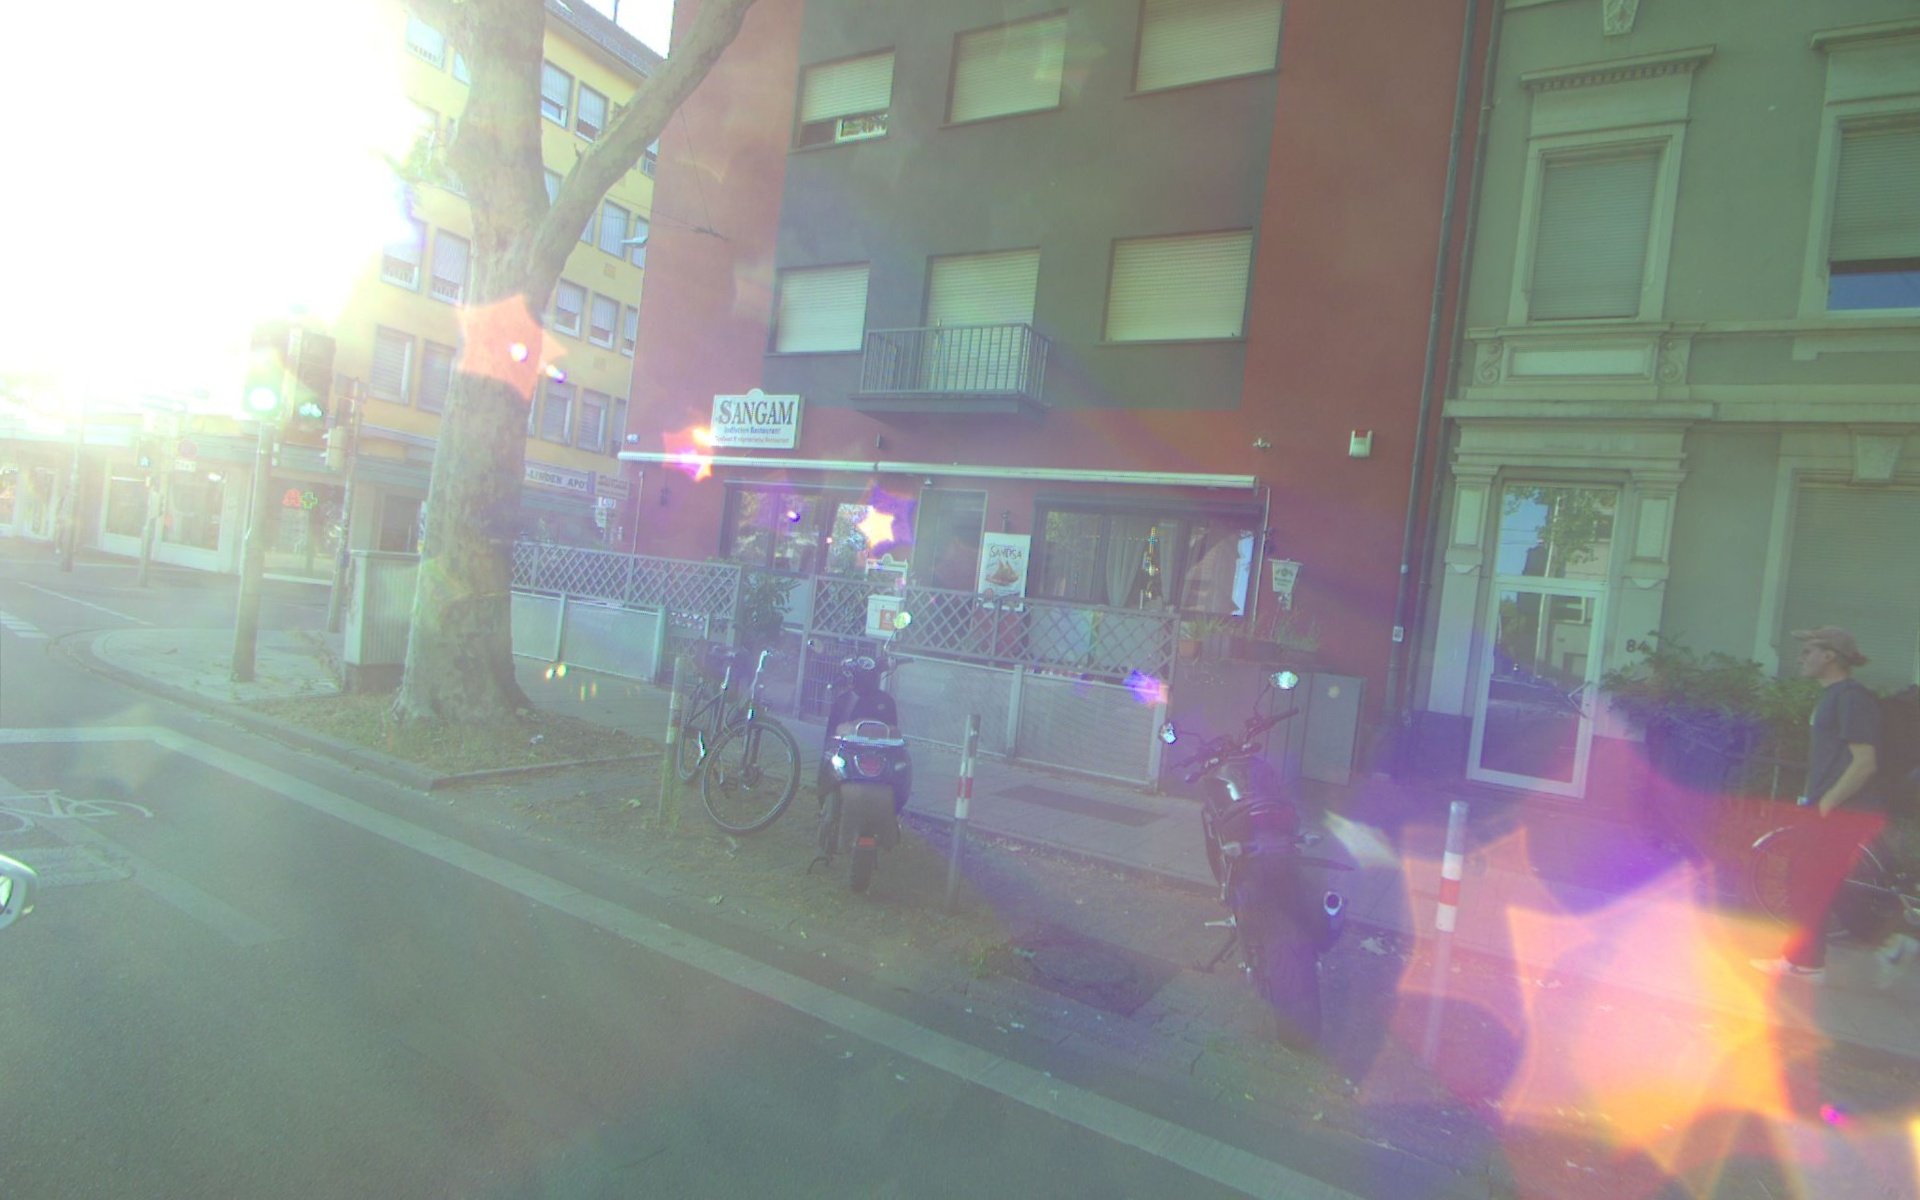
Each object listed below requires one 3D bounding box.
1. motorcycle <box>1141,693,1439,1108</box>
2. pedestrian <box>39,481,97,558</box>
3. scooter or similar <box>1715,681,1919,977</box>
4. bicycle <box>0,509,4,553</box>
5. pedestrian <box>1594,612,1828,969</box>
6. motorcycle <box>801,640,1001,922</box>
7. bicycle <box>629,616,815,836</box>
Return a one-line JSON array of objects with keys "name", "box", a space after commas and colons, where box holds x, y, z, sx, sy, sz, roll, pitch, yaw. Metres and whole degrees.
[{"name": "motorcycle", "box": [1.340, 1.151, 4.608, 0.651, 1.125, 2.212, 7, 2, 4]}, {"name": "pedestrian", "box": [-22.721, -2.049, 25.632, 0.880, 1.801, 0.744, 6, 0, 31]}, {"name": "scooter or similar", "box": [5.779, 1.353, 5.452, 2.502, 1.488, 0.665, 7, 1, 32]}, {"name": "bicycle", "box": [-23.314, -1.679, 23.145, 0.531, 1.021, 1.800, 7, 2, 28]}, {"name": "pedestrian", "box": [4.081, 0.973, 5.552, 0.802, 1.734, 0.726, 6, 3, 31]}, {"name": "motorcycle", "box": [-0.423, 0.913, 5.720, 0.772, 1.126, 1.885, 6, 2, -11]}, {"name": "bicycle", "box": [-1.675, 0.784, 6.842, 0.614, 1.126, 1.784, 5, 3, -31]}]
